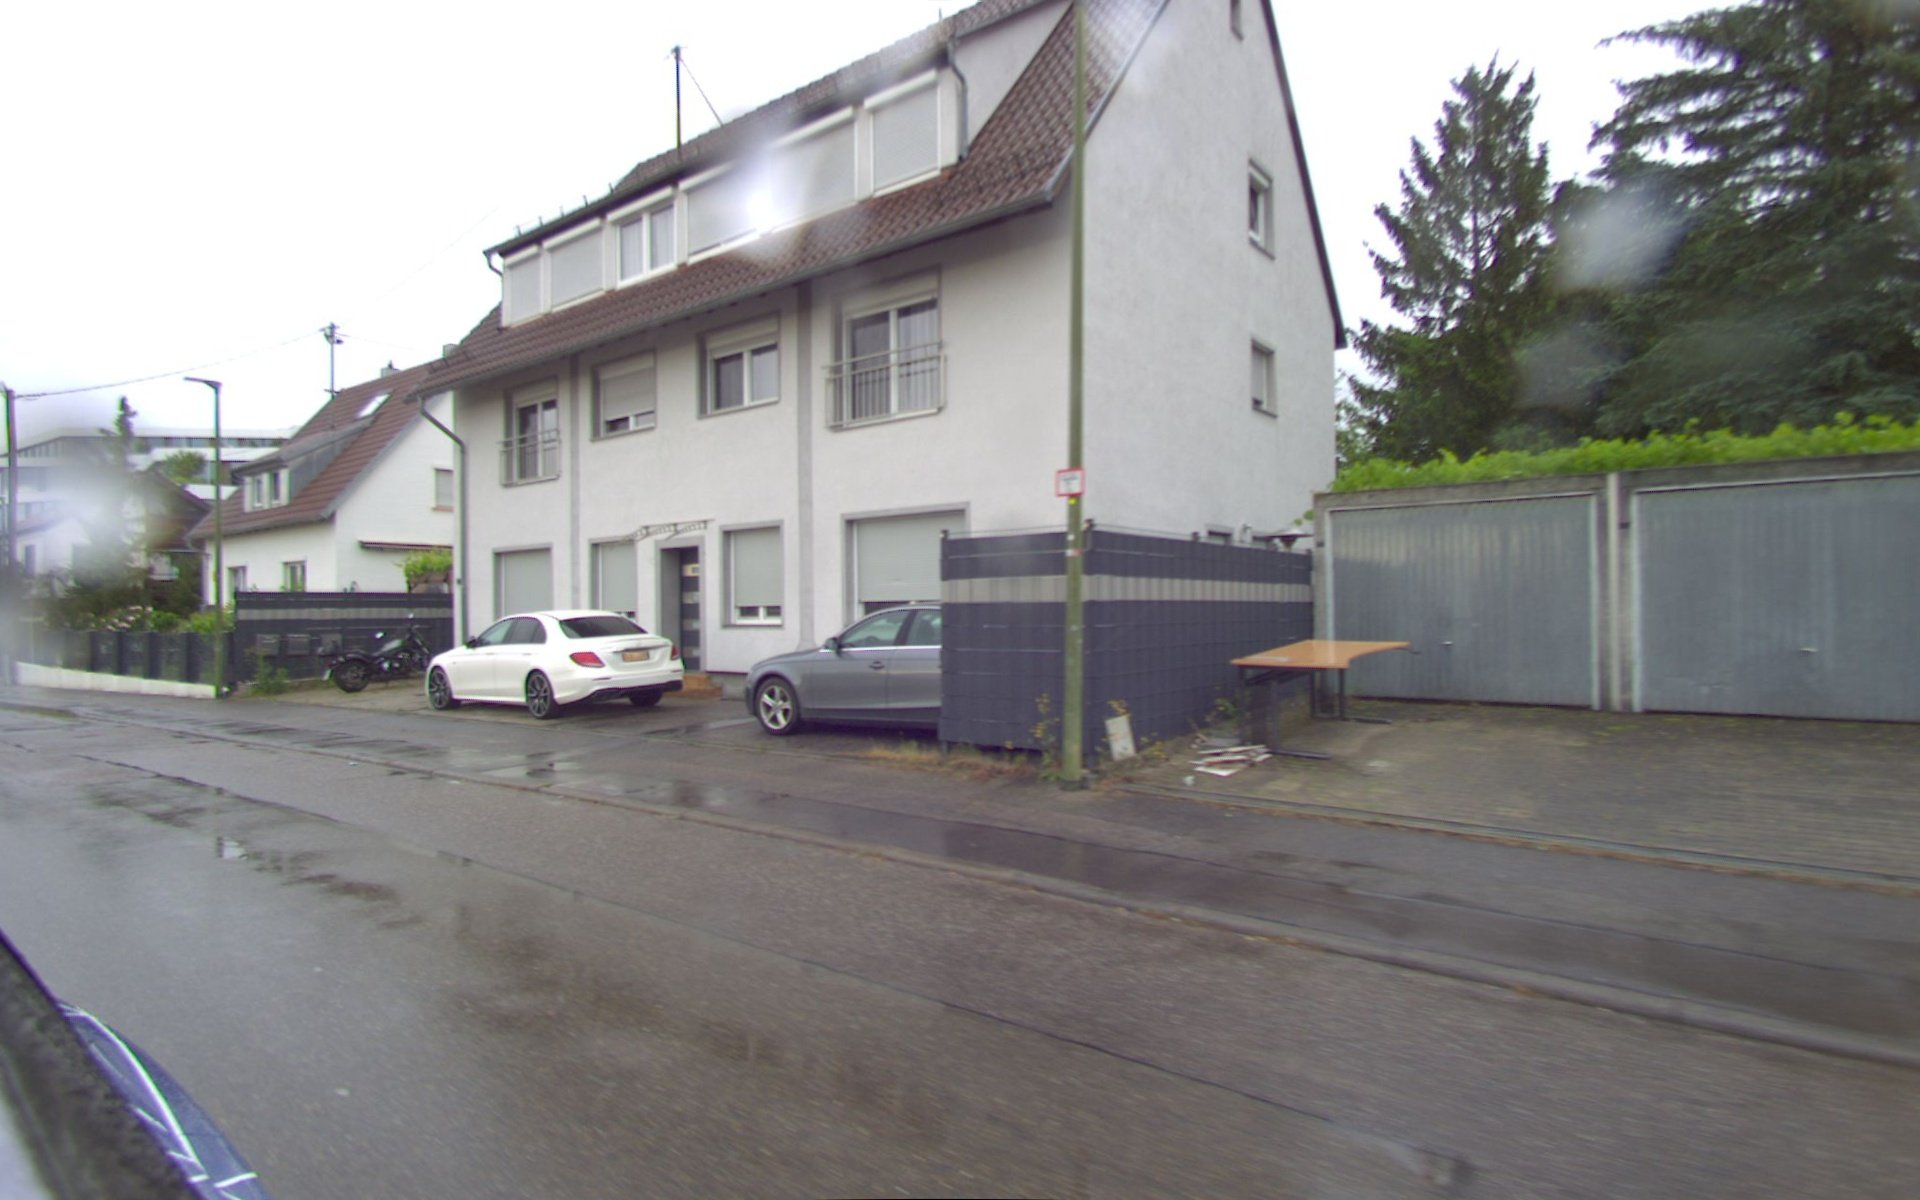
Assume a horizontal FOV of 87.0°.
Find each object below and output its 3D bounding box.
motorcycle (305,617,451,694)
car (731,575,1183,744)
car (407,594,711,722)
[{"bbox_3d":[-11.420,1.058,19.937,0.735,1.283,2.340,-2,1,38],"label":"motorcycle"},{"bbox_3d":[-0.170,0.564,10.697,4.561,1.378,1.810,-2,2,37],"label":"car"},{"bbox_3d":[-6.097,0.809,15.109,4.889,1.521,1.975,-2,2,38],"label":"car"}]
